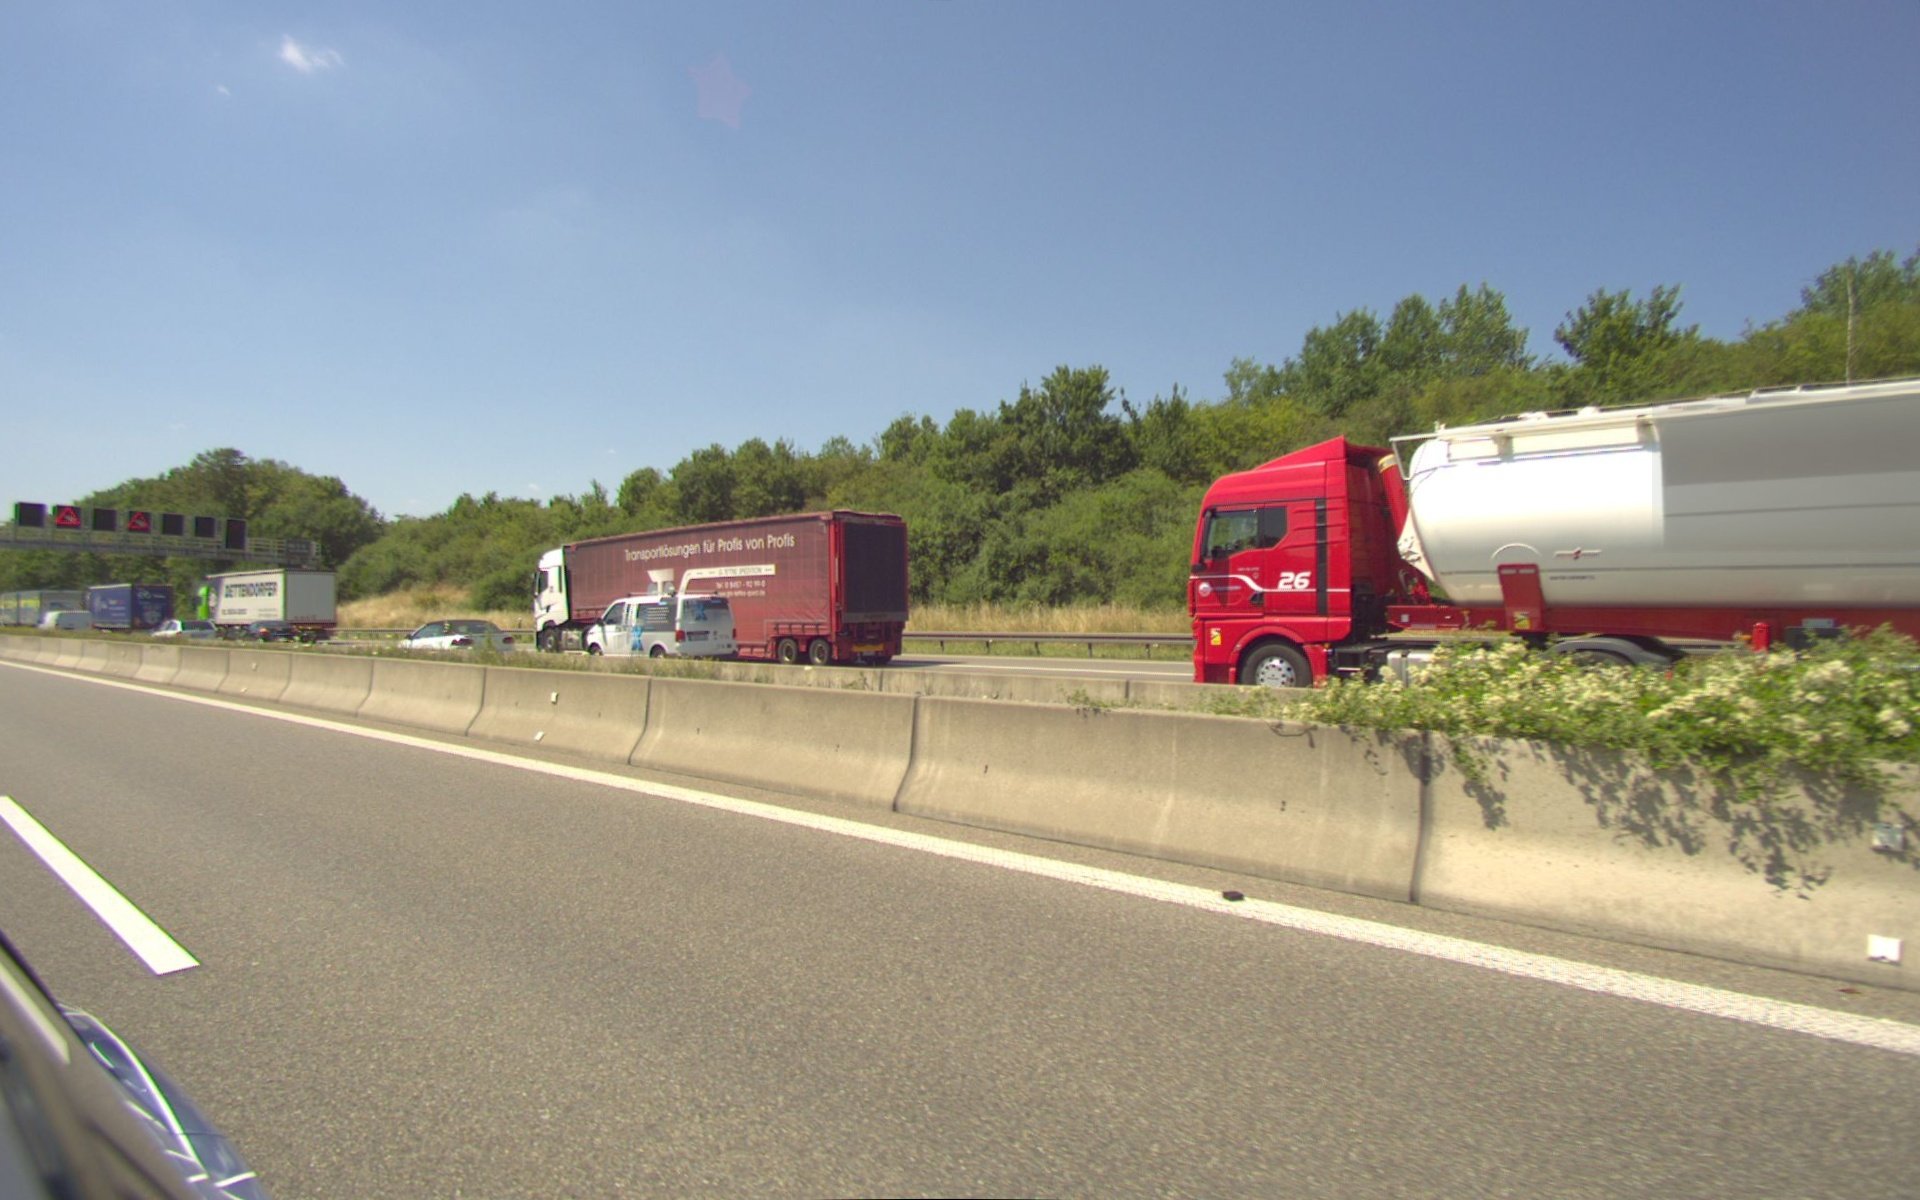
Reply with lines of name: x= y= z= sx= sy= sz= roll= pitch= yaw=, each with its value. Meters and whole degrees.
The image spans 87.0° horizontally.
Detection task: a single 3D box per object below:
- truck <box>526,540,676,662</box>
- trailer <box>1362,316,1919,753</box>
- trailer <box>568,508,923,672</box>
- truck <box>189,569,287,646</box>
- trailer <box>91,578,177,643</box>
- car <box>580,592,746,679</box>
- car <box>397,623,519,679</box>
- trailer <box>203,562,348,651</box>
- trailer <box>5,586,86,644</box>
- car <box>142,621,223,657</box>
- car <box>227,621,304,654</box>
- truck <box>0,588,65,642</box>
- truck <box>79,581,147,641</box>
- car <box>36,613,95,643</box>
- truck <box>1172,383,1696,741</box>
truck: x=-12.837 y=0.078 z=36.083 sx=5.130 sy=4.040 sz=2.937 roll=-1 pitch=-1 yaw=41
trailer: x=11.529 y=-0.659 z=9.615 sx=14.165 sy=4.196 sz=2.907 roll=-1 pitch=0 yaw=41
trailer: x=-7.236 y=-0.141 z=31.202 sx=14.077 sy=4.141 sz=2.908 roll=-1 pitch=-1 yaw=41
truck: x=-44.567 y=0.471 z=62.419 sx=6.597 sy=4.478 sz=3.355 roll=-1 pitch=0 yaw=40
trailer: x=-64.138 y=0.800 z=78.467 sx=11.015 sy=4.761 sz=2.983 roll=-1 pitch=0 yaw=39
car: x=-7.676 y=0.866 z=25.992 sx=4.542 sy=2.045 sz=1.936 roll=-1 pitch=-1 yaw=40
car: x=-12.841 y=1.250 z=25.816 sx=3.423 sy=1.333 sz=1.596 roll=-1 pitch=-1 yaw=41
trailer: x=-39.565 y=0.379 z=58.155 sx=13.638 sy=4.609 sz=3.320 roll=-1 pitch=0 yaw=40
trailer: x=-71.186 y=1.139 z=78.698 sx=10.187 sy=4.198 sz=3.094 roll=-1 pitch=0 yaw=39
car: x=-32.604 y=1.600 z=42.400 sx=3.994 sy=1.438 sz=1.745 roll=-1 pitch=-1 yaw=38
car: x=-31.547 y=1.674 z=45.919 sx=3.994 sy=1.438 sz=1.745 roll=-1 pitch=-1 yaw=38
truck: x=-75.241 y=1.192 z=81.919 sx=6.228 sy=4.198 sz=3.094 roll=-1 pitch=0 yaw=39
truck: x=-69.161 y=0.890 z=82.587 sx=6.680 sy=4.761 sz=2.983 roll=-1 pitch=0 yaw=39
car: x=-51.215 y=1.576 z=57.934 sx=3.995 sy=1.684 sz=1.887 roll=-1 pitch=-1 yaw=39
truck: x=6.388 y=-0.398 z=14.166 sx=6.083 sy=3.910 sz=2.853 roll=-1 pitch=0 yaw=41
